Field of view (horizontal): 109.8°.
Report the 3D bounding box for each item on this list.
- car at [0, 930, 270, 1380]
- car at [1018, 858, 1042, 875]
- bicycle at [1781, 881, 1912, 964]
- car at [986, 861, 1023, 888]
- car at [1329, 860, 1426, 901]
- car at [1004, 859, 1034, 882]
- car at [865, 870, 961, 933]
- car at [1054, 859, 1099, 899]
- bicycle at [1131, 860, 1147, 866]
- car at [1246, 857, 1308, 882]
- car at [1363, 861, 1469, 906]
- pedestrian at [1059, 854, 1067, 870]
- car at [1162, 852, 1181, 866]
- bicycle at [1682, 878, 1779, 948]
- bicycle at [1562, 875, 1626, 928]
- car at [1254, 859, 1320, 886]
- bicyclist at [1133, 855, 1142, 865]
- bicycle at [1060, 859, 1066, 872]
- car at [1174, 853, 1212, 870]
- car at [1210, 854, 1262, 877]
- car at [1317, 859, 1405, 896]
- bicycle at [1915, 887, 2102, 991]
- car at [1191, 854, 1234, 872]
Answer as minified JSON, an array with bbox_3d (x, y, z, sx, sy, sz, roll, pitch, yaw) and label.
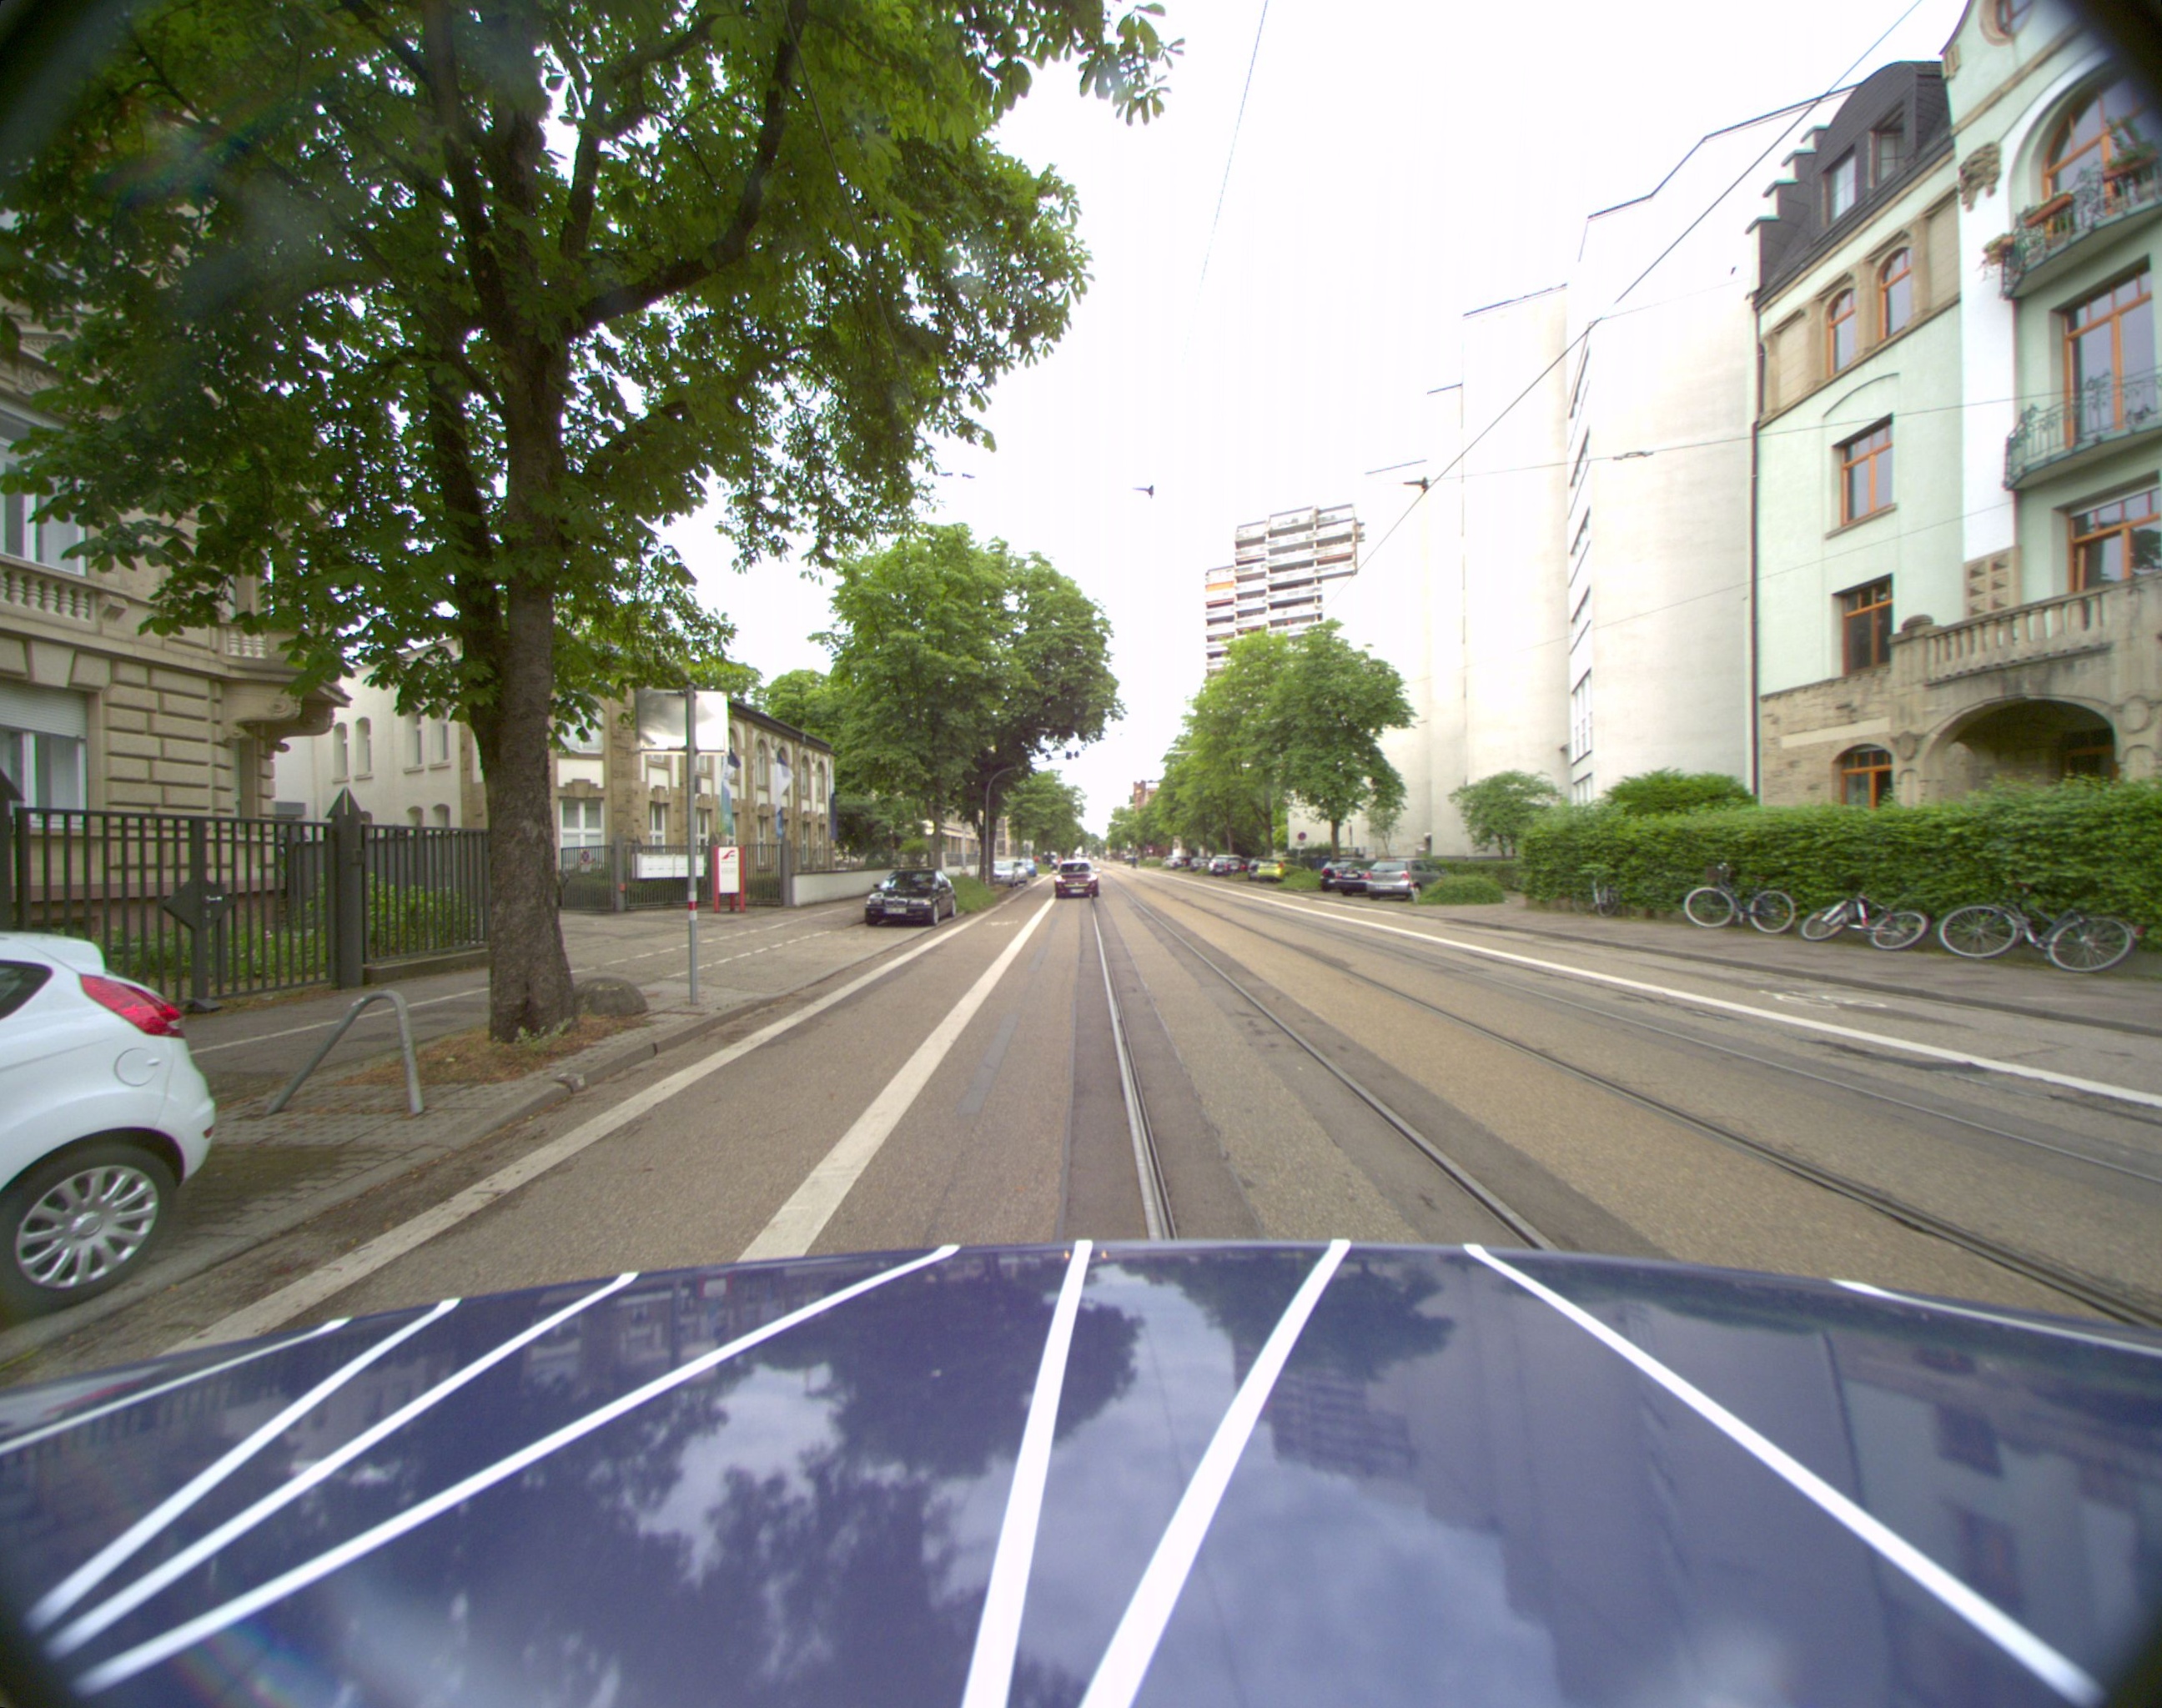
[{"bbox_3d":[-4.501,1.066,1.547,1.631,1.427,3.764,1,0,1],"label":"car"},{"bbox_3d":[-4.144,1.001,62.098,1.606,1.362,3.837,1,0,1],"label":"car"},{"bbox_3d":[11.110,0.956,11.091,0.360,1.077,1.546,0,0,1],"label":"bicycle"},{"bbox_3d":[-4.201,1.093,42.445,1.606,1.362,3.837,1,0,1],"label":"car"},{"bbox_3d":[11.388,0.965,29.083,4.008,1.395,1.691,-1,0,-39],"label":"car"},{"bbox_3d":[-4.015,1.061,49.583,1.606,1.416,3.837,1,0,1],"label":"car"},{"bbox_3d":[-4.269,1.157,19.871,1.606,1.362,3.837,1,0,1],"label":"car"},{"bbox_3d":[-0.123,0.948,30.637,1.606,1.427,3.777,-2,0,2],"label":"car"},{"bbox_3d":[7.101,1.113,93.634,1.892,0.784,0.567,-1,0,-21],"label":"bicycle"},{"bbox_3d":[11.775,0.901,45.470,4.008,1.434,1.690,-1,0,-43],"label":"car"},{"bbox_3d":[11.598,0.964,26.190,4.008,1.395,1.691,-1,0,-39],"label":"car"},{"bbox_3d":[-1.697,0.769,72.175,0.684,1.541,0.704,-1,1,1],"label":"pedestrian"},{"bbox_3d":[10.583,0.541,88.747,1.694,1.611,3.999,-1,0,-1],"label":"car"},{"bbox_3d":[11.214,0.990,13.172,0.360,1.077,1.546,0,0,1],"label":"bicycle"},{"bbox_3d":[11.250,1.019,16.713,0.360,1.077,1.546,0,0,1],"label":"bicycle"},{"bbox_3d":[11.524,0.975,42.423,4.008,1.387,1.690,-1,0,-43],"label":"car"},{"bbox_3d":[6.978,0.762,93.569,0.876,1.247,0.751,-1,1,-22],"label":"bicyclist"},{"bbox_3d":[-1.698,1.093,72.263,0.414,1.197,1.707,-1,0,1],"label":"bicycle"},{"bbox_3d":[11.598,0.767,78.445,4.008,1.611,1.690,-1,0,-43],"label":"car"},{"bbox_3d":[11.310,0.796,55.198,4.008,1.611,1.690,-1,0,-43],"label":"car"},{"bbox_3d":[11.904,0.951,32.245,4.008,1.395,1.691,-1,0,-39],"label":"car"},{"bbox_3d":[11.044,0.970,9.125,0.360,1.077,1.546,0,0,1],"label":"bicycle"},{"bbox_3d":[11.913,0.790,68.609,4.008,1.611,1.690,-1,0,-43],"label":"car"}]
